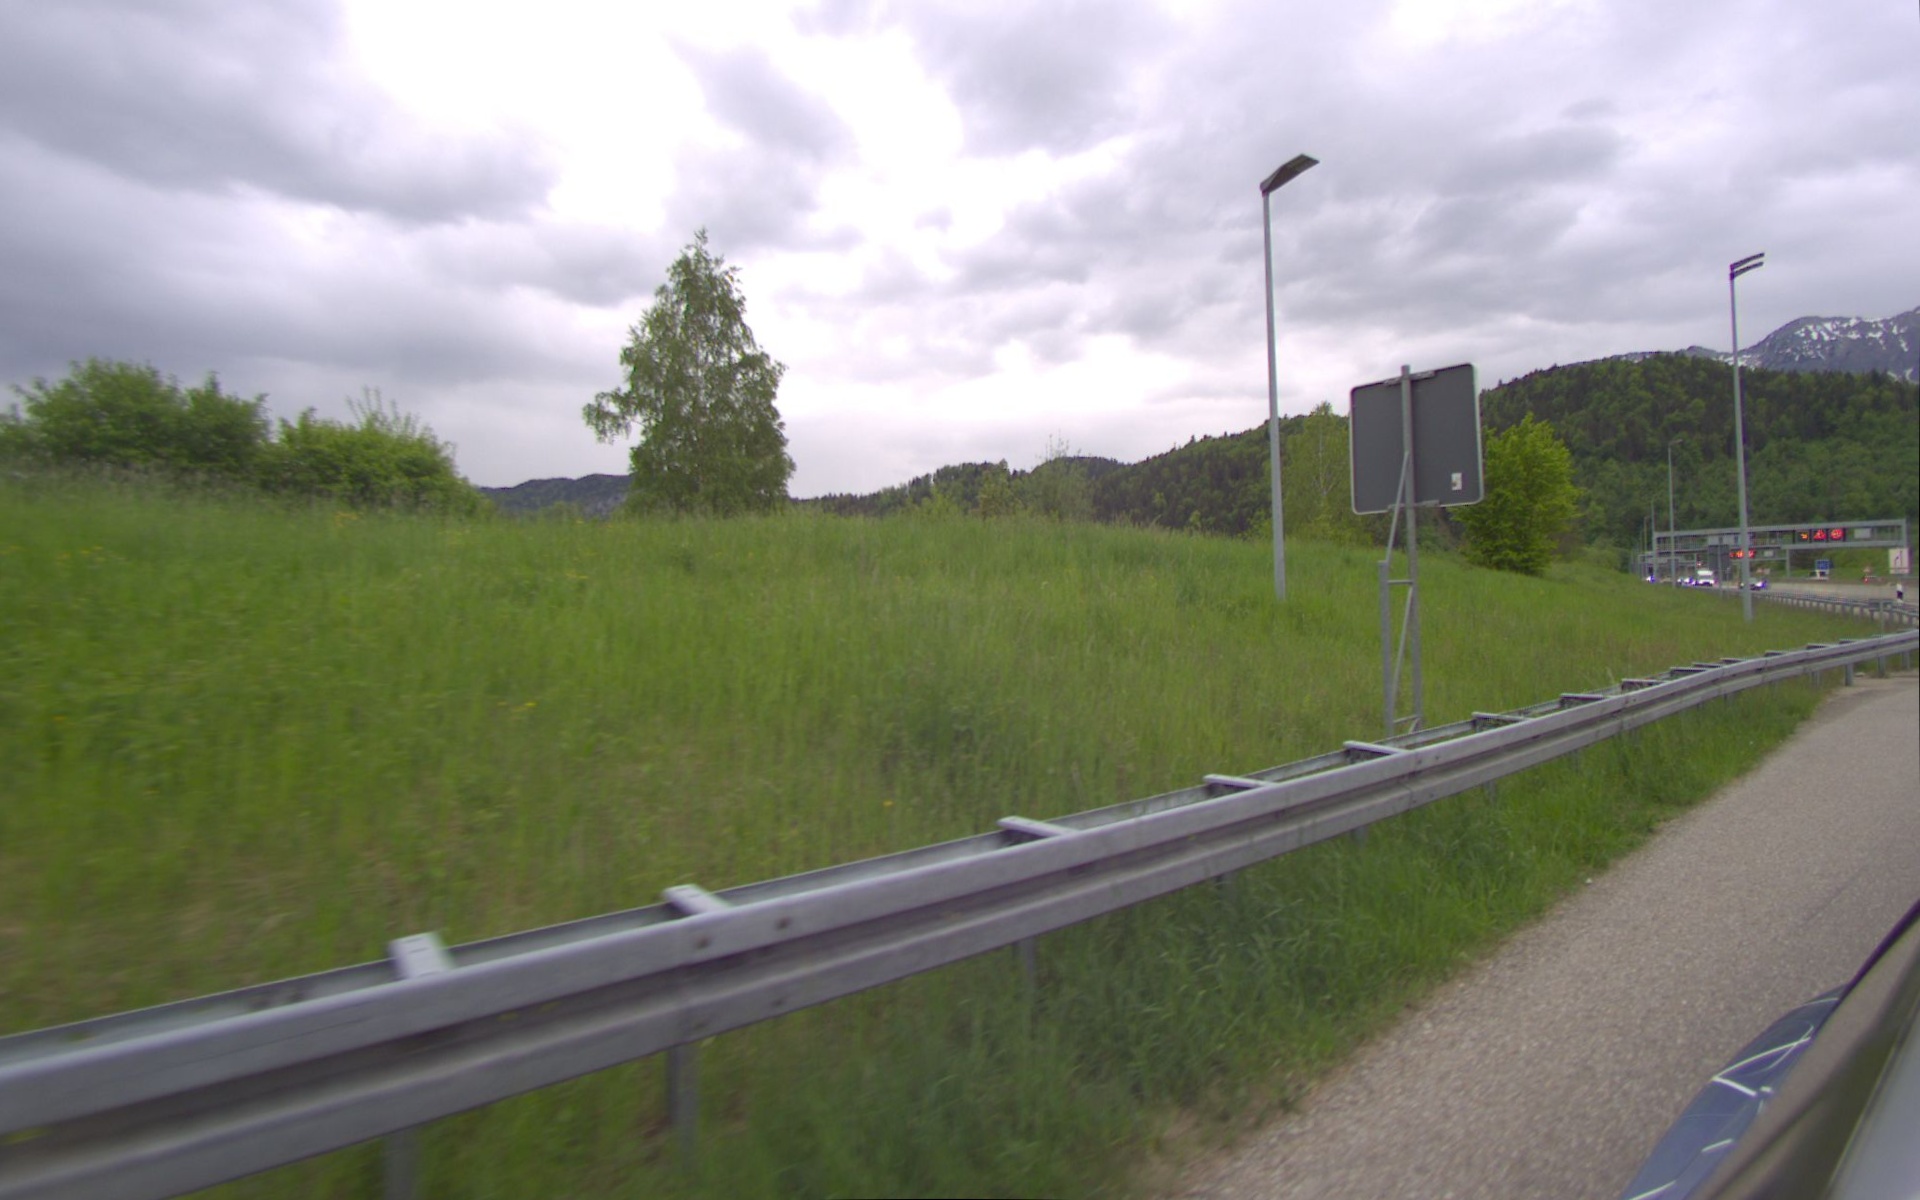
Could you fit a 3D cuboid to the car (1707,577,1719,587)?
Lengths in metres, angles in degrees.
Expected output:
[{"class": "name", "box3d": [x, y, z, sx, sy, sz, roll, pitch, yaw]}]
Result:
[{"class": "car", "box3d": [133.734, -3.177, 179.720, 1.623, 1.719, 3.448, 0, 1, 38]}]

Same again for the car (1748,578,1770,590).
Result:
[{"class": "car", "box3d": [90.357, -1.824, 114.451, 1.653, 1.354, 3.746, 1, 1, 34]}]

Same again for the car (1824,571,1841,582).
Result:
[{"class": "car", "box3d": [141.087, -3.854, 163.630, 1.904, 1.719, 3.448, 0, 1, 38]}]

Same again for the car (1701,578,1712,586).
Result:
[{"class": "car", "box3d": [148.111, -3.550, 200.767, 1.623, 1.719, 3.448, 0, 1, 38]}]
